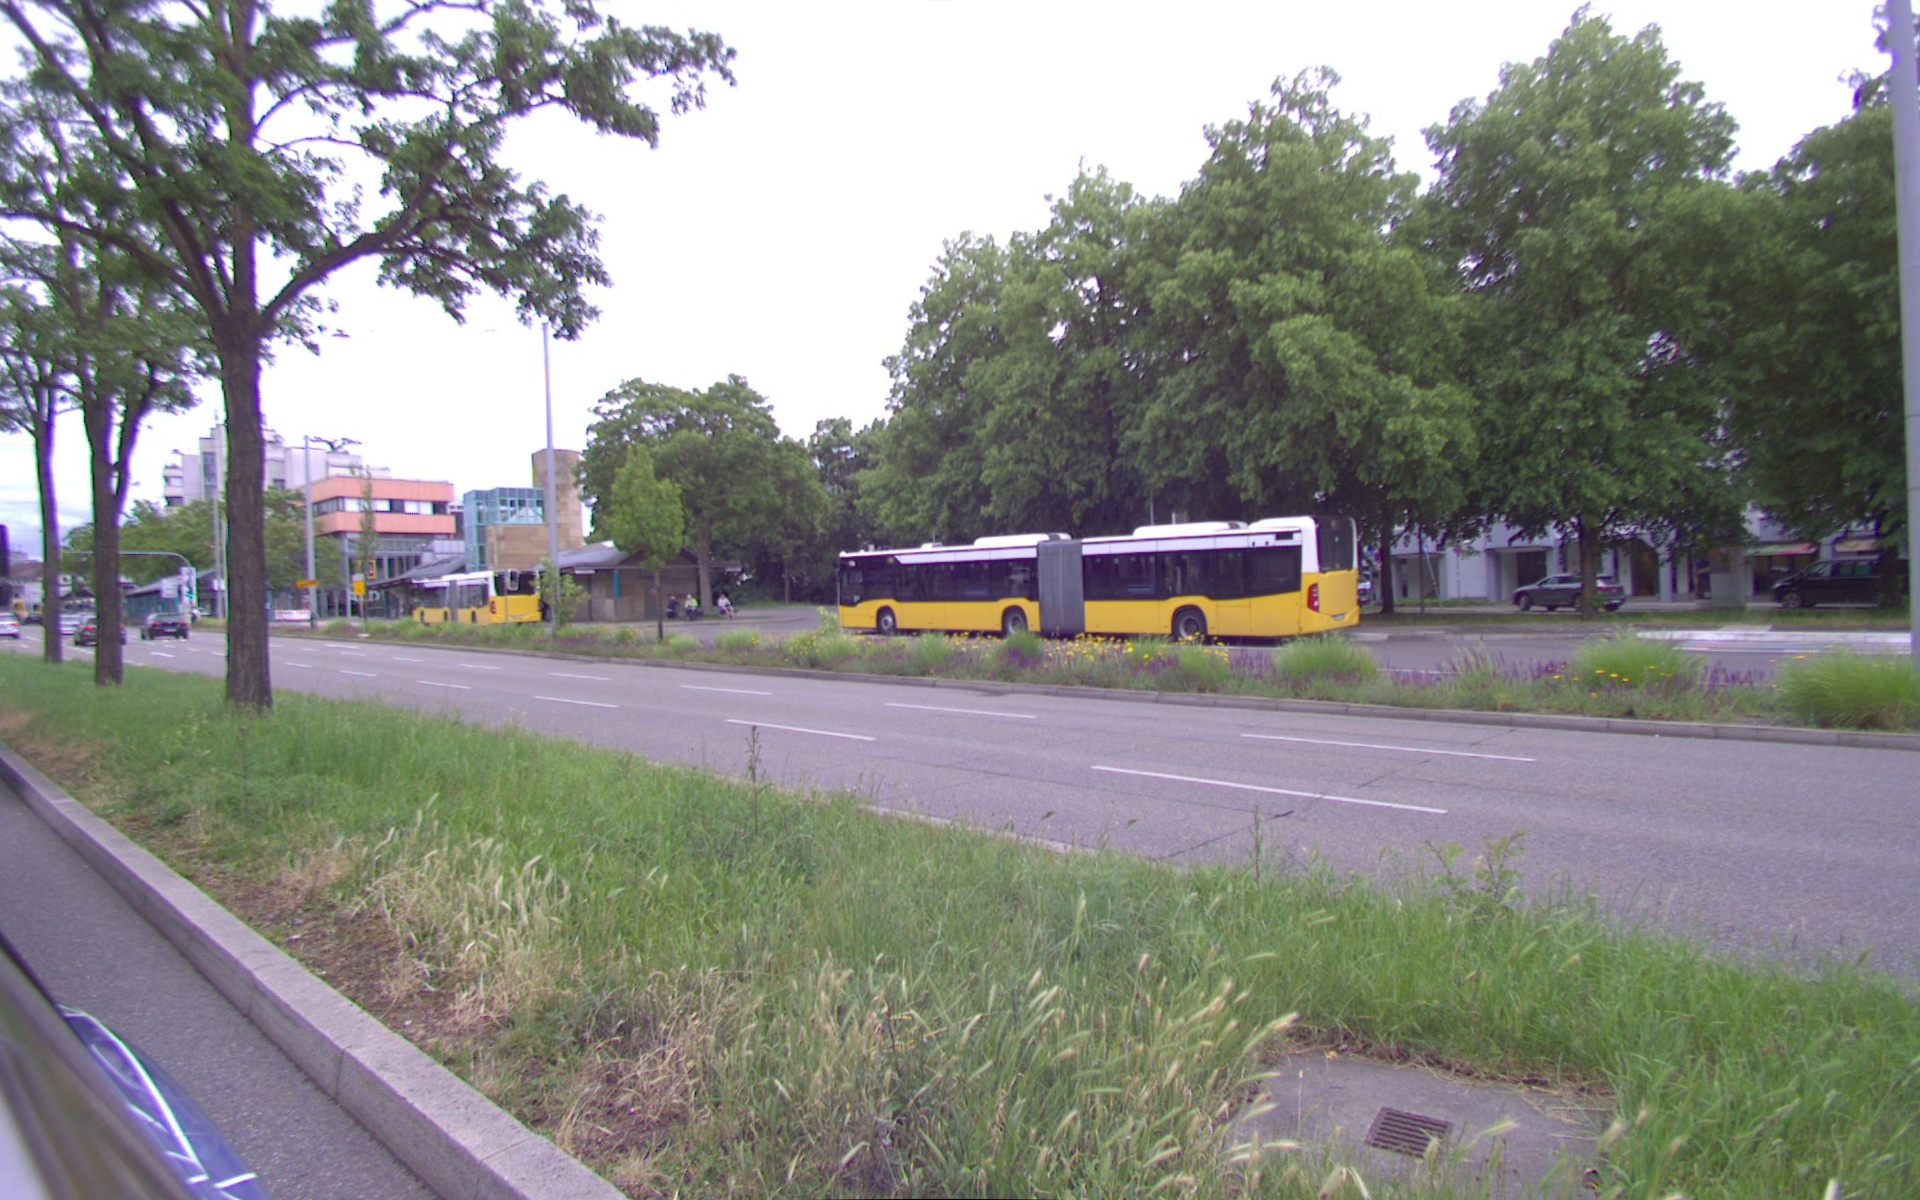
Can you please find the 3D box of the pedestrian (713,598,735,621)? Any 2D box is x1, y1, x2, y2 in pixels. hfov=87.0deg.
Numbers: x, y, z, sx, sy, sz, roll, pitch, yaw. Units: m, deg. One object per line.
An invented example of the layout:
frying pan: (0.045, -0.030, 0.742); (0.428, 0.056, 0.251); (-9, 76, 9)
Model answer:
pedestrian: (-11.914, 0.473, 51.110); (0.924, 1.180, 0.641); (-1, 0, 41)

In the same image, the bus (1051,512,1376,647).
bus: (6.333, -0.422, 26.449); (2.849, 3.025, 7.889); (-1, 0, -44)

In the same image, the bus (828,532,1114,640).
bus: (-0.031, -0.326, 33.049); (2.848, 3.025, 10.401); (-1, 0, -44)

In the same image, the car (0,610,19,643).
car: (-59.981, 1.668, 63.021); (4.000, 2.029, 1.703); (-1, 0, 43)

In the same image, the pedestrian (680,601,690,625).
pedestrian: (-13.706, 0.634, 50.407); (0.361, 1.175, 0.900); (-1, 0, -23)

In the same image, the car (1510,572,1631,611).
car: (25.421, -0.324, 42.288); (1.729, 1.524, 4.013); (-1, 0, -26)

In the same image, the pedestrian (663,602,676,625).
pedestrian: (-14.964, 0.688, 52.109); (0.590, 1.171, 0.745); (-1, 0, -16)

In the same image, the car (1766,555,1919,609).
car: (33.134, -0.632, 37.787); (1.758, 1.861, 4.429); (-1, 0, -35)

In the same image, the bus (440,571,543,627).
bus: (-25.665, -0.009, 55.172); (2.846, 2.830, 9.191); (-1, 0, -40)

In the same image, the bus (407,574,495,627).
bus: (-31.413, 0.063, 62.195); (2.846, 3.025, 9.191); (-1, 0, -40)

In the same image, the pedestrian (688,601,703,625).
pedestrian: (-13.199, 0.627, 50.536); (0.589, 1.171, 0.745); (-1, 0, -23)
